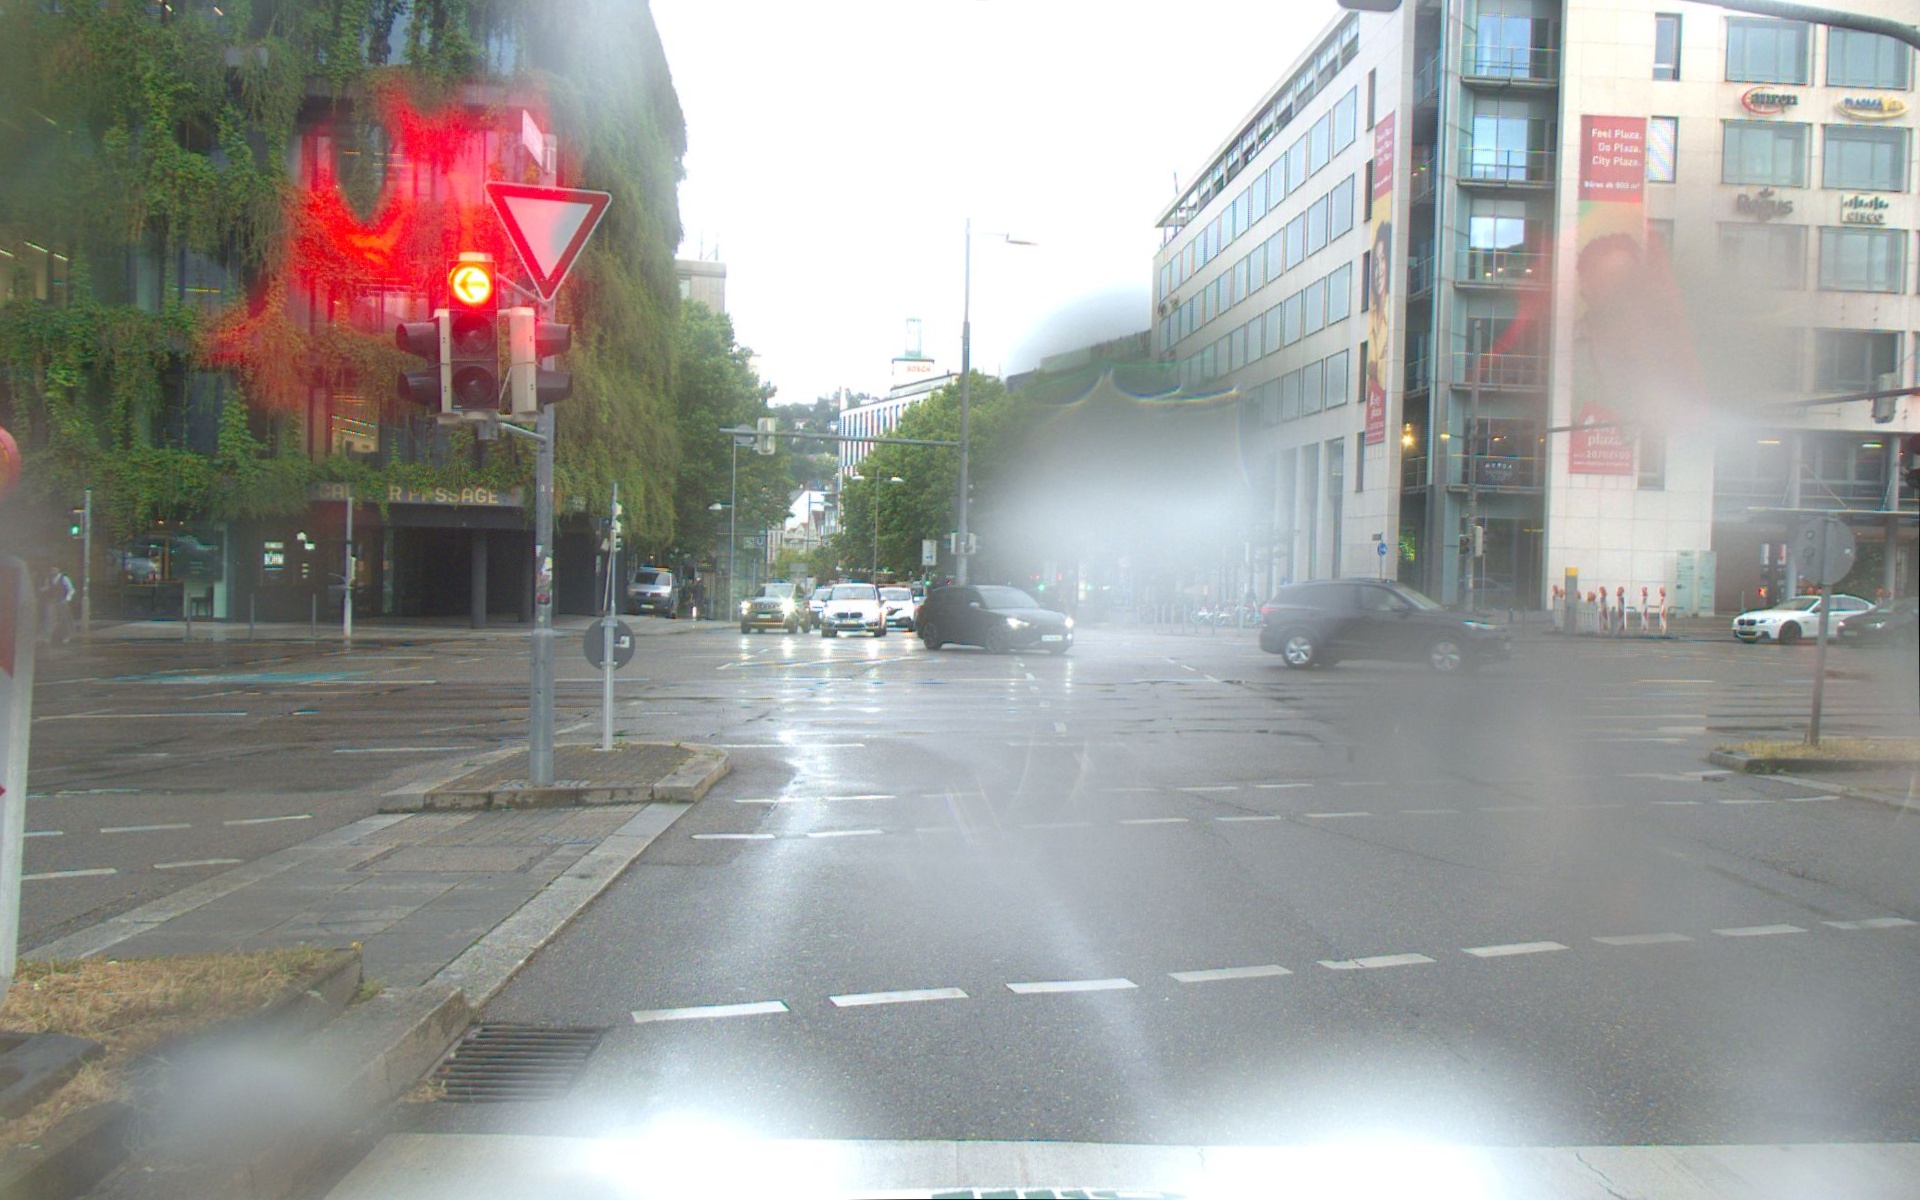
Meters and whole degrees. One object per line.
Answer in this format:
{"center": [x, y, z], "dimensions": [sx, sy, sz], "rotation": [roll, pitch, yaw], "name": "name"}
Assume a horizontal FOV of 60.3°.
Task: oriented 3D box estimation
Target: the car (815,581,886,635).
{"center": [-3.213, 0.206, 49.374], "dimensions": [1.953, 1.468, 4.555], "rotation": [0, 2, -2], "name": "car"}

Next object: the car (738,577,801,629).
{"center": [-6.262, 0.071, 54.238], "dimensions": [1.956, 1.626, 4.458], "rotation": [1, 0, -8], "name": "car"}

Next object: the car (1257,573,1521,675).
{"center": [7.754, 0.374, 29.974], "dimensions": [4.271, 1.684, 1.966], "rotation": [1, 2, 32], "name": "car"}

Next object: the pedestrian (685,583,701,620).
{"center": [-11.118, 0.064, 68.982], "dimensions": [0.595, 1.550, 0.587], "rotation": [1, 0, -5], "name": "pedestrian"}

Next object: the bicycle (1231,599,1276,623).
{"center": [11.721, 0.435, 66.000], "dimensions": [1.767, 0.950, 0.473], "rotation": [1, 0, 41], "name": "bicycle"}

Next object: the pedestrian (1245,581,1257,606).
{"center": [13.991, -0.312, 79.545], "dimensions": [0.350, 1.194, 0.409], "rotation": [0, 0, -39], "name": "pedestrian"}

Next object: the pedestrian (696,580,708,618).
{"center": [-10.748, -0.041, 68.990], "dimensions": [0.428, 1.550, 0.547], "rotation": [1, 0, -5], "name": "pedestrian"}

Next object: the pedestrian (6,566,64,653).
{"center": [-19.214, 0.189, 34.375], "dimensions": [0.923, 1.788, 1.163], "rotation": [0, 0, -24], "name": "pedestrian"}

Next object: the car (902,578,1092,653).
{"center": [0.725, 0.276, 35.810], "dimensions": [1.840, 1.473, 4.566], "rotation": [0, 1, -34], "name": "car"}

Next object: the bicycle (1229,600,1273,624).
{"center": [11.746, 0.473, 66.745], "dimensions": [1.767, 0.950, 0.473], "rotation": [1, 0, 41], "name": "bicycle"}

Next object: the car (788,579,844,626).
{"center": [-5.887, 0.081, 67.106], "dimensions": [2.133, 1.855, 4.637], "rotation": [1, 0, -7], "name": "car"}

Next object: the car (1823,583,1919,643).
{"center": [26.779, 0.353, 46.332], "dimensions": [4.373, 1.626, 1.994], "rotation": [1, 0, -13], "name": "car"}

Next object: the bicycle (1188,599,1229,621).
{"center": [10.961, 0.454, 72.909], "dimensions": [1.757, 0.950, 0.475], "rotation": [1, 0, 2], "name": "bicycle"}

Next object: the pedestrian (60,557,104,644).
{"center": [-18.498, 0.010, 34.867], "dimensions": [0.731, 1.788, 0.969], "rotation": [0, 0, -24], "name": "pedestrian"}

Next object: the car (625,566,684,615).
{"center": [-12.528, -0.391, 68.116], "dimensions": [1.955, 1.928, 4.460], "rotation": [1, 0, -5], "name": "car"}

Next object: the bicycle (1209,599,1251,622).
{"center": [11.605, 0.461, 71.071], "dimensions": [1.757, 0.950, 0.475], "rotation": [1, 0, 2], "name": "bicycle"}

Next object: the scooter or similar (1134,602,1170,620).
{"center": [9.273, 0.537, 79.994], "dimensions": [1.720, 0.894, 0.486], "rotation": [0, 0, -20], "name": "scooter or similar"}

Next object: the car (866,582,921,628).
{"center": [-2.491, 0.160, 61.275], "dimensions": [1.954, 1.556, 4.553], "rotation": [0, 2, -3], "name": "car"}

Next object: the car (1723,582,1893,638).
{"center": [25.411, 0.301, 49.580], "dimensions": [4.378, 1.626, 1.992], "rotation": [0, 0, -16], "name": "car"}

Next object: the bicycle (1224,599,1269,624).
{"center": [11.147, 0.434, 64.383], "dimensions": [1.767, 0.950, 0.473], "rotation": [1, 0, 41], "name": "bicycle"}
